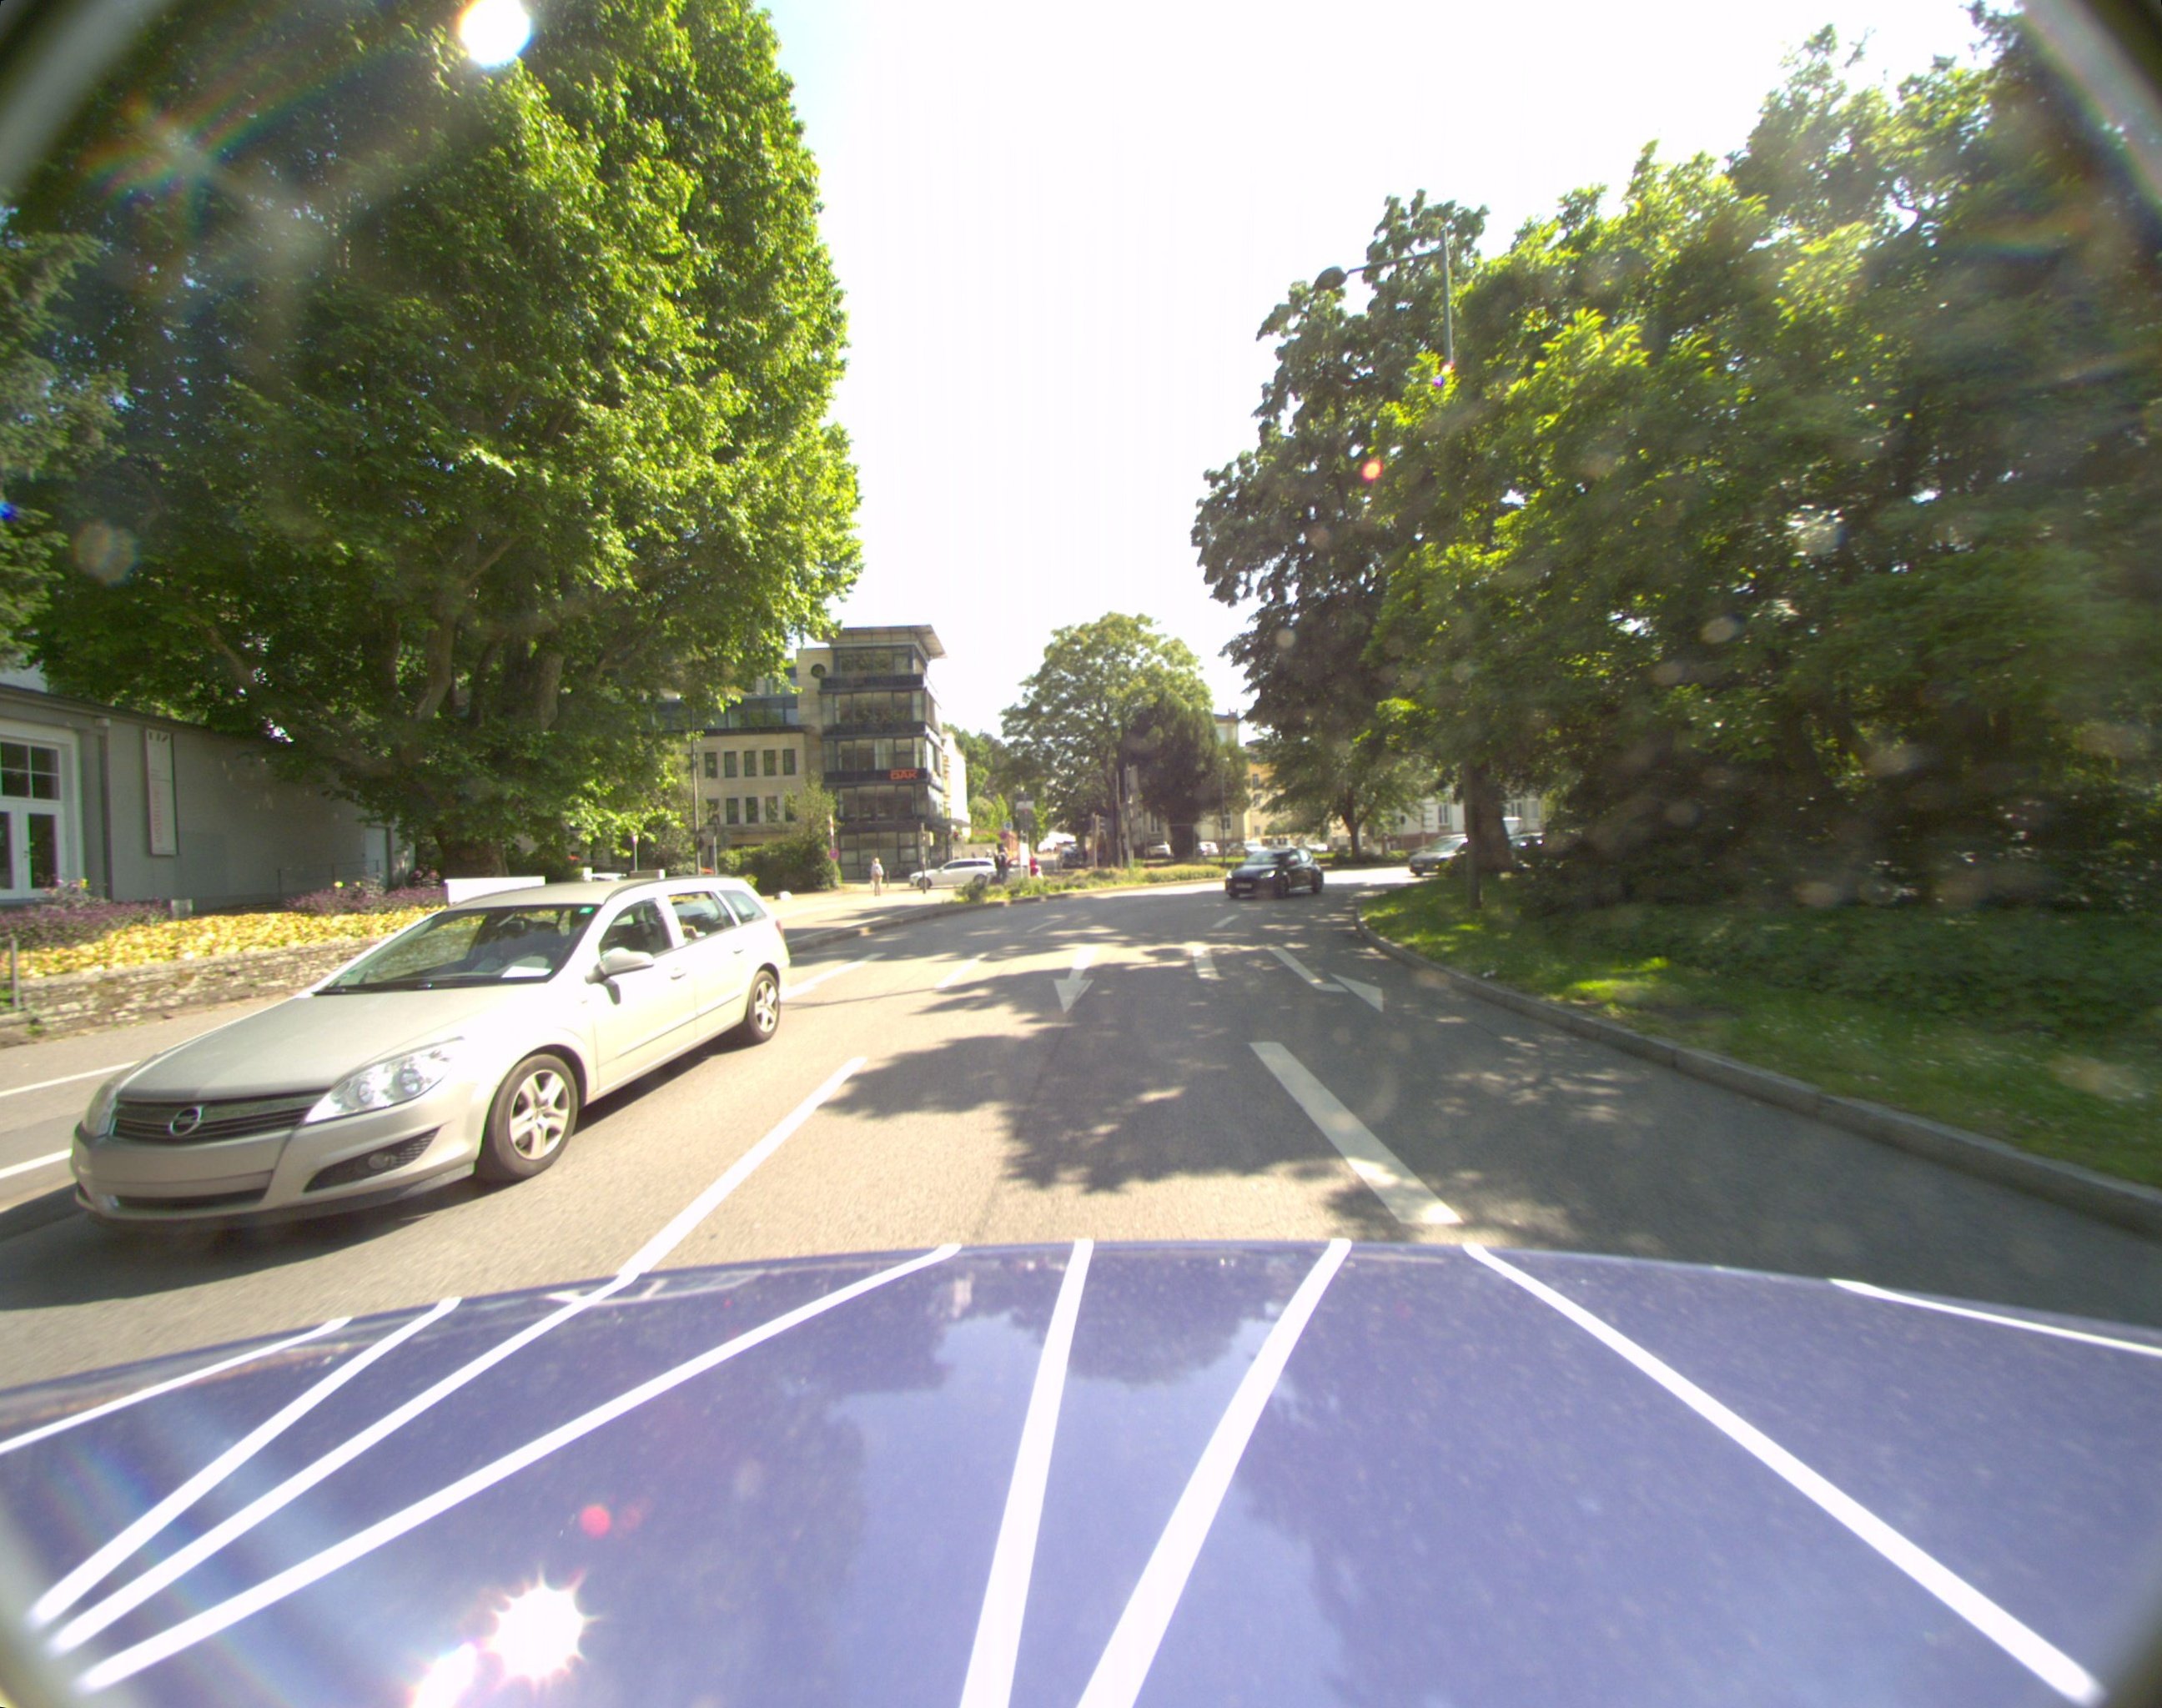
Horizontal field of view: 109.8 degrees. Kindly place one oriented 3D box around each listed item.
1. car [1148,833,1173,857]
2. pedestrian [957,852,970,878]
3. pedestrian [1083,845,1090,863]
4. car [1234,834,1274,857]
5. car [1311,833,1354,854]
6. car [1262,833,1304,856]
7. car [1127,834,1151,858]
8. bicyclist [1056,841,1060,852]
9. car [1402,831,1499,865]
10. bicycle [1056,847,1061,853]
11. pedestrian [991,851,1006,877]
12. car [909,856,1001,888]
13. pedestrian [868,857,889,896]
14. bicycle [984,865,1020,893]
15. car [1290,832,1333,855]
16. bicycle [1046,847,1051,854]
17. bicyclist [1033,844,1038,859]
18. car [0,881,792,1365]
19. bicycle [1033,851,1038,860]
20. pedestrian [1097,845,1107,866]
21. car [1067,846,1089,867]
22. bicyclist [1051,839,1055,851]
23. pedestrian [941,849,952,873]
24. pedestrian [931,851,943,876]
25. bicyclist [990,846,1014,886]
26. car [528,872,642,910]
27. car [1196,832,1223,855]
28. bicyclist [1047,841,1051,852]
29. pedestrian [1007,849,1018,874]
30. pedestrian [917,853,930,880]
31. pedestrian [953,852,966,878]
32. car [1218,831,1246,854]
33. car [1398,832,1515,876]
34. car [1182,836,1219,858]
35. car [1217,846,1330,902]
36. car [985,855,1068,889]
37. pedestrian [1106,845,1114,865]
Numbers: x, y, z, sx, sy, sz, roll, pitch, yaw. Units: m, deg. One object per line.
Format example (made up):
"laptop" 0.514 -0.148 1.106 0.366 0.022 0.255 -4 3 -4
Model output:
"car" 7.189 -0.793 69.298 1.850 2.002 4.000 -2 0 1
"pedestrian" -7.913 0.714 51.013 0.603 1.695 0.690 -3 1 8
"pedestrian" 0.543 -0.014 73.292 0.602 1.695 0.604 -3 1 -2
"car" 13.400 -0.655 59.218 1.851 1.652 3.998 -3 0 -5
"car" 20.096 -0.836 60.861 1.851 1.569 3.998 -3 0 -5
"car" 15.805 -0.733 59.671 1.851 1.652 3.998 -3 0 -5
"car" 5.270 -0.736 69.317 1.850 2.002 4.000 -2 0 1
"bicyclist" -4.144 -1.383 136.692 0.573 2.002 0.907 -2 1 5
"car" 19.726 -0.309 40.672 4.418 1.545 1.684 -3 1 -8
"bicycle" -4.091 -0.701 136.698 0.566 1.154 1.899 -2 0 6
"pedestrian" -5.468 0.651 50.375 0.701 1.695 0.603 -3 1 11
"car" -6.651 0.929 40.401 4.687 1.443 1.810 -3 1 -8
"pedestrian" -9.027 0.998 33.876 0.711 1.663 0.534 -3 1 -5
"bicycle" -3.281 1.015 31.699 0.710 1.048 2.209 -2 0 15
"car" 18.163 -0.807 59.962 1.851 1.652 3.998 -3 0 -5
"bicycle" -5.835 -0.659 137.368 0.566 1.154 1.899 -2 0 6
"bicyclist" -6.277 -0.328 104.814 0.574 2.002 0.749 -3 1 -1
"car" -3.607 1.041 4.873 1.711 1.513 4.406 -3 0 1
"bicycle" -6.210 0.232 104.833 0.566 1.154 1.898 -3 0 -1
"pedestrian" 1.699 0.127 61.689 0.604 1.695 0.535 -3 1 -11
"car" -0.311 0.226 68.368 1.851 1.777 3.998 1 1 -3
"bicyclist" -4.874 -1.563 132.021 0.573 2.002 1.050 -2 1 5
"pedestrian" -9.489 0.506 53.650 0.602 1.695 0.604 -3 1 3
"pedestrian" -10.061 0.663 53.173 0.602 1.695 0.604 -3 1 3
"bicyclist" -3.302 0.497 31.745 0.710 1.603 0.732 -2 1 15
"car" -22.962 1.680 35.283 3.953 1.443 1.810 -3 1 -8
"car" 11.927 -0.957 70.938 1.850 2.002 4.000 -2 0 1
"bicyclist" -5.831 -1.346 137.215 0.573 2.002 0.907 -2 1 5
"pedestrian" -4.781 0.526 53.042 0.602 1.695 0.604 -3 1 3
"pedestrian" -10.342 0.803 49.850 0.690 1.695 0.602 -3 1 -5
"pedestrian" -8.000 0.729 50.125 0.653 1.695 0.646 -3 1 3
"car" 14.053 -1.017 70.793 1.850 2.002 4.000 -2 0 1
"car" 15.318 -0.027 31.056 4.144 1.674 1.888 -1 2 -17
"car" 9.287 -0.536 59.366 1.851 1.652 3.998 -3 0 -5
"car" 6.024 0.565 23.488 1.806 1.443 3.961 -1 2 40
"car" -2.771 0.887 38.110 3.953 1.443 1.810 -3 1 -8
"pedestrian" 2.487 0.045 65.617 0.602 1.695 0.604 -3 1 -2
